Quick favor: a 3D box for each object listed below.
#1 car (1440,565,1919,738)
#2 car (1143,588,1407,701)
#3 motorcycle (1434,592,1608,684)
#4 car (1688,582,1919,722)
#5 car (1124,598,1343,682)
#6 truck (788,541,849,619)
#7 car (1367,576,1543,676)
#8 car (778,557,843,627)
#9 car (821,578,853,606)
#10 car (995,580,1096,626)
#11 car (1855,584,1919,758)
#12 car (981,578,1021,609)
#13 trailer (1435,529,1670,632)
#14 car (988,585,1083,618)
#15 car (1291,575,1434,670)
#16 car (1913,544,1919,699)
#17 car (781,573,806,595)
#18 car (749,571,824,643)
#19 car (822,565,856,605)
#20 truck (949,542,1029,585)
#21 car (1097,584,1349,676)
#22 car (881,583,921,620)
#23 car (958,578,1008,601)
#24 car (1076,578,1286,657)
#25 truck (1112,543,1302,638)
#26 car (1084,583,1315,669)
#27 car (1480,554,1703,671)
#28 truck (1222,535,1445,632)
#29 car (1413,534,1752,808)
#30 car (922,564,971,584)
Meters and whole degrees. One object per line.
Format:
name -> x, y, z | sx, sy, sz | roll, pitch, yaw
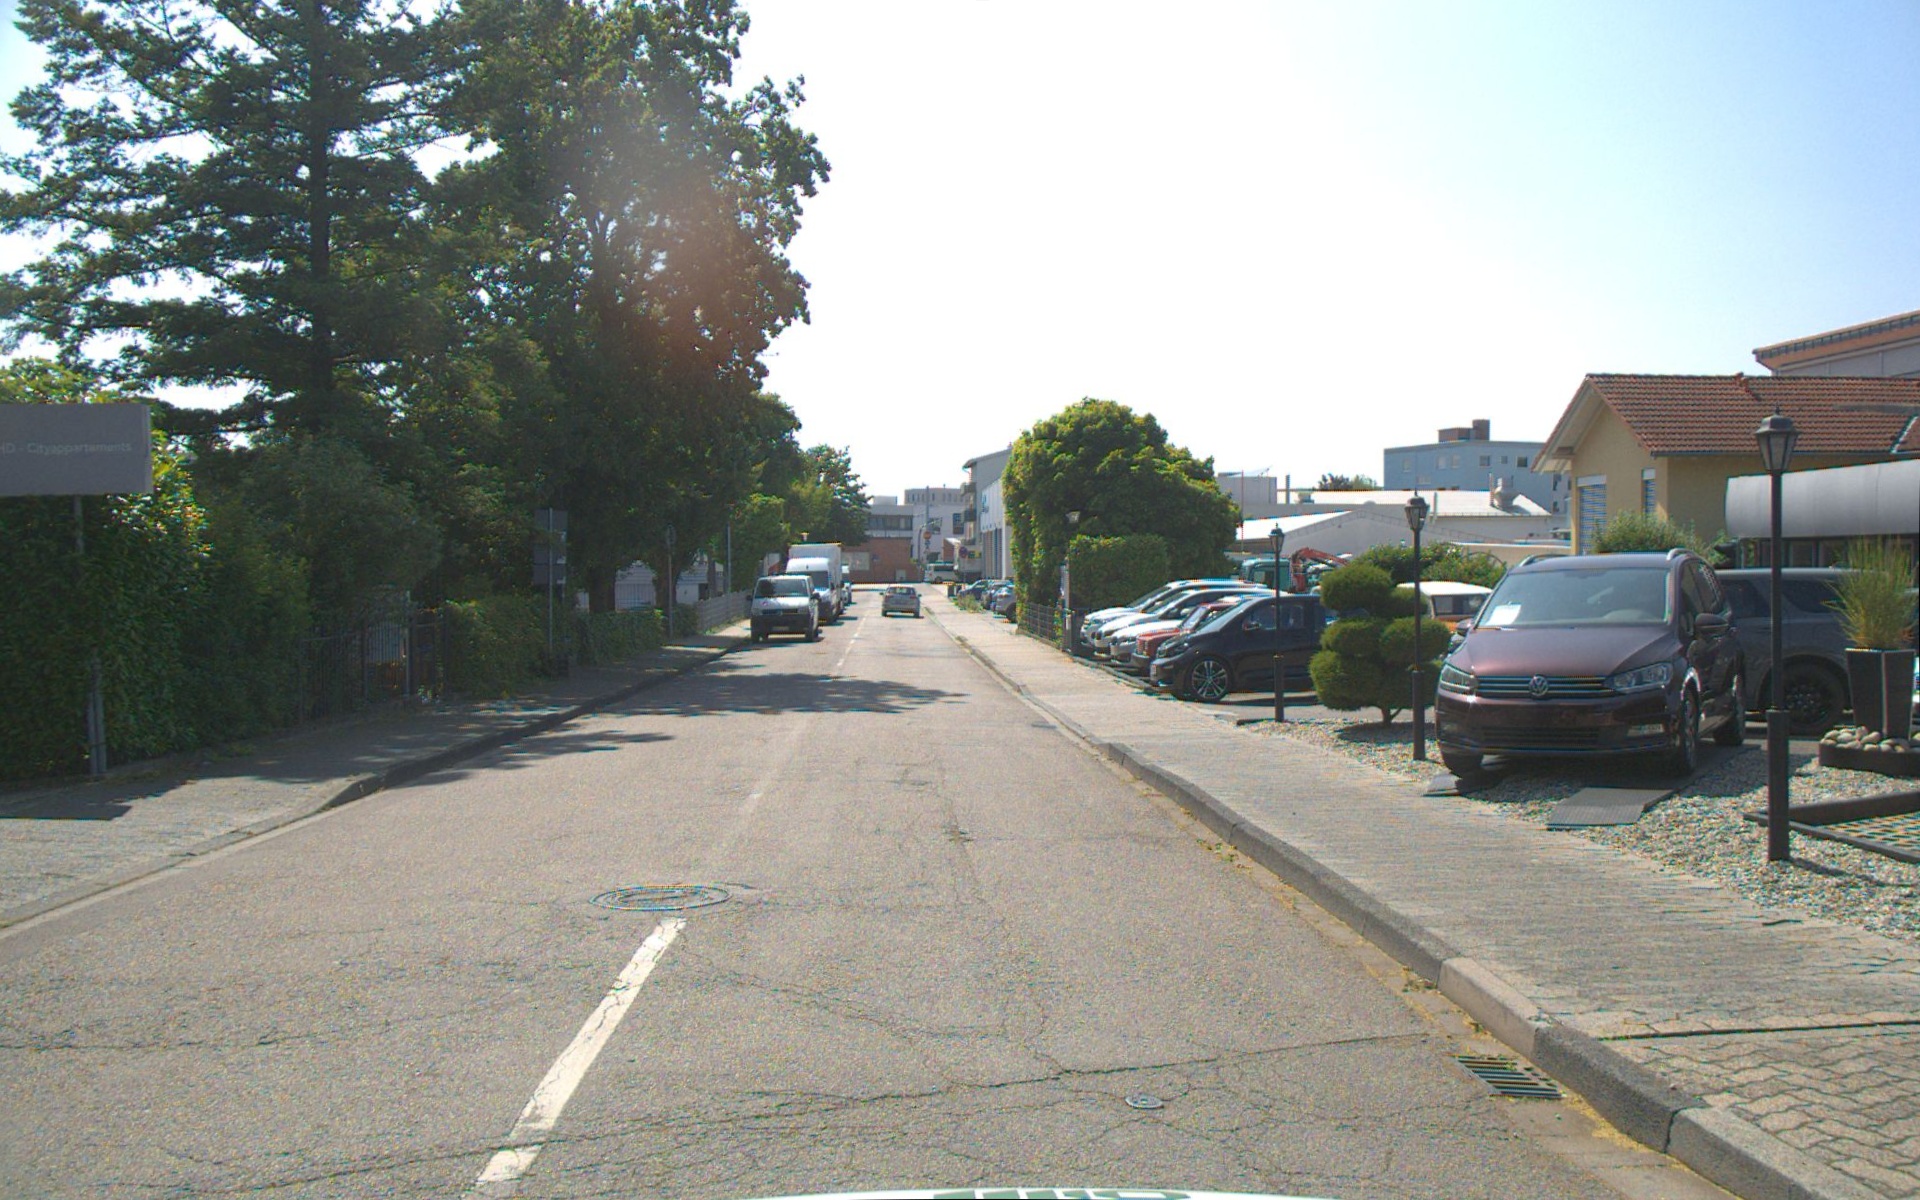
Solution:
car -> 8.138, 0.519, 18.966 | 4.880, 1.793, 1.925 | 0, 1, 23
car -> 4.859, 0.657, 25.807 | 3.728, 1.652, 1.758 | -1, 0, -4
motorcycle -> 9.396, 0.618, 27.720 | 2.636, 1.458, 1.007 | -1, 0, -14
car -> 11.664, 0.638, 20.713 | 4.466, 1.664, 1.926 | -1, -1, 19
car -> 4.721, 0.669, 28.817 | 3.479, 1.358, 1.557 | -1, 0, -4
truck -> -6.607, -0.909, 76.972 | 2.633, 3.425, 7.122 | -1, 0, -5
car -> 9.274, 0.444, 31.330 | 1.954, 1.758, 3.997 | 0, 0, -3
car -> -6.001, -0.341, 67.102 | 2.124, 2.641, 6.918 | -2, 0, -1
car -> -7.506, -0.498, 100.779 | 1.672, 1.652, 3.967 | -2, 1, -7
car -> 3.666, 0.115, 71.539 | 4.118, 1.711, 1.766 | 3, 1, -4
car -> 10.530, 0.630, 15.650 | 4.155, 1.561, 1.903 | 0, 0, -33
car -> 2.204, -0.386, 90.672 | 1.821, 1.595, 4.949 | 0, 1, -3
trailer -> 23.096, -0.761, 64.826 | 8.160, 3.930, 3.069 | 0, 0, 3
car -> 3.535, 0.073, 77.660 | 4.266, 1.466, 1.891 | -1, 1, -4
car -> 8.551, 0.458, 35.466 | 1.954, 1.892, 3.786 | 1, 0, -3
car -> 15.490, 0.286, 22.036 | 4.465, 2.188, 1.927 | -1, 1, 15
car -> -12.898, -1.260, 127.976 | 1.778, 1.557, 3.673 | -1, 1, -4
car -> -5.304, 0.188, 51.079 | 1.932, 2.049, 5.054 | -2, 1, -2
car -> -7.758, -1.009, 105.942 | 1.966, 2.407, 5.225 | -3, 1, -4
truck -> 2.788, -3.550, 159.407 | 7.223, 3.708, 2.763 | -3, 2, -9
car -> 4.924, 0.549, 31.313 | 4.321, 1.523, 1.894 | -2, 0, -8
car -> -2.811, 0.047, 78.222 | 1.853, 1.714, 3.955 | 0, 0, -3
car -> 1.464, -0.680, 108.138 | 3.187, 1.423, 1.673 | 0, 1, -2
car -> 4.823, 0.358, 36.427 | 4.317, 1.682, 1.842 | 0, 0, -5
truck -> 10.275, -0.398, 69.138 | 7.368, 3.482, 2.526 | 3, 0, -3
car -> 4.875, 0.515, 33.992 | 4.321, 1.554, 1.894 | -2, 0, -8
car -> 12.034, 0.203, 31.923 | 1.956, 2.049, 4.900 | -1, 0, -7
truck -> 14.591, -0.650, 65.069 | 8.106, 3.674, 2.953 | 0, 1, 0
car -> 5.130, 0.470, 13.258 | 1.813, 1.813, 4.281 | -1, 0, 31
car -> -1.377, -2.656, 167.538 | 4.588, 1.991, 1.904 | -1, 1, -22
